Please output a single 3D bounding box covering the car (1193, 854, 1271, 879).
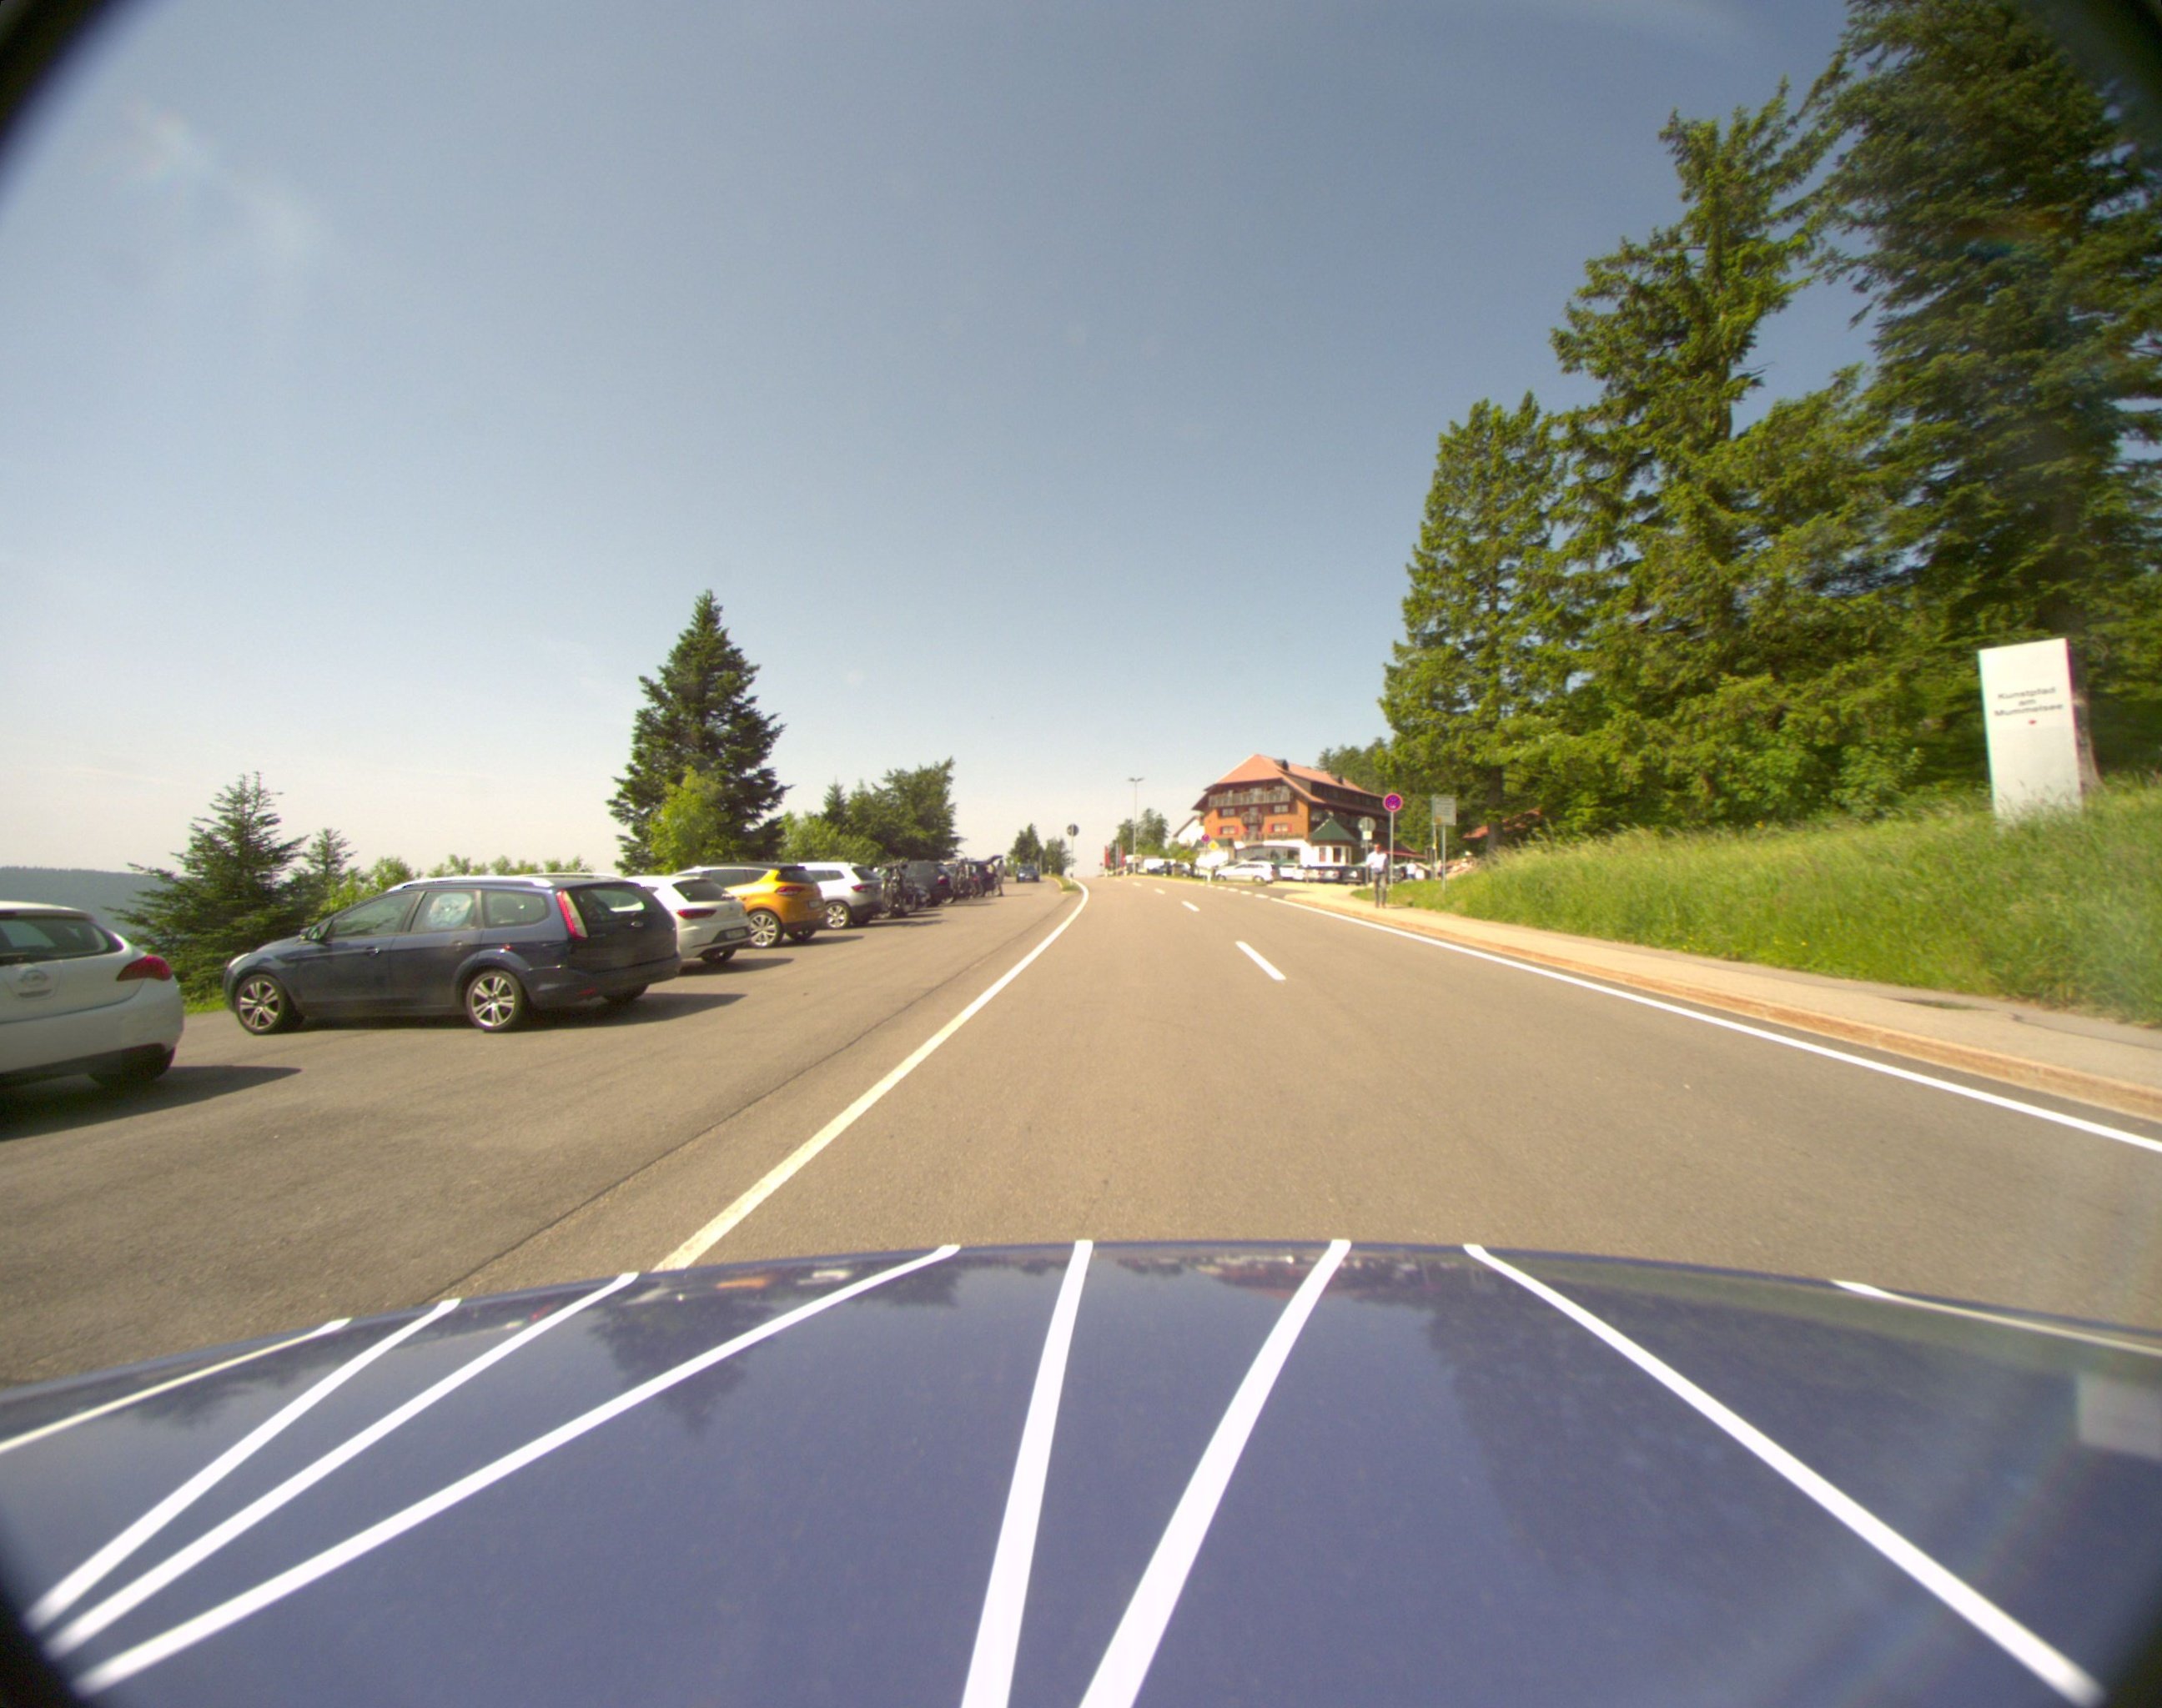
[{"bbox_3d":[11.372,0.934,57.305,5.349,1.858,2.004,-1,0,33],"label":"car"}]

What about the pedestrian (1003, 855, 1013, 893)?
[{"bbox_3d":[-3.490,0.956,36.307,0.367,1.812,0.549,0,0,0],"label":"pedestrian"}]

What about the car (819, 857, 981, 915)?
[{"bbox_3d":[-6.271,1.093,26.737,5.113,1.610,2.000,-4,0,2],"label":"car"}]

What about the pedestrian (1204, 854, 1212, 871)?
[{"bbox_3d":[12.922,0.899,77.416,0.779,1.689,0.684,0,0,4],"label":"pedestrian"}]

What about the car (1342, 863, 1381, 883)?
[{"bbox_3d":[20.469,1.353,55.372,1.708,1.387,3.323,0,-1,38],"label":"car"}]

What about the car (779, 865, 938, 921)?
[{"bbox_3d":[-6.841,1.198,23.616,4.322,1.423,1.690,-3,0,4],"label":"car"}]

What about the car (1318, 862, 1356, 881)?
[{"bbox_3d":[19.610,1.331,58.088,1.714,1.425,3.323,0,-1,38],"label":"car"}]

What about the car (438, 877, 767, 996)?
[{"bbox_3d":[-7.011,1.186,11.366,3.892,1.412,1.614,-3,1,4],"label":"car"}]

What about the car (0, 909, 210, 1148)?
[{"bbox_3d":[-8.677,1.206,5.162,3.994,1.411,1.768,-3,0,10],"label":"car"}]

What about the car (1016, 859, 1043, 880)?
[{"bbox_3d":[-4.110,1.204,60.222,1.999,1.537,3.998,-1,0,-4],"label":"car"}]

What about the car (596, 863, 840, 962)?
[{"bbox_3d":[-6.976,1.095,14.849,3.886,1.606,1.710,-3,0,3],"label":"car"}]

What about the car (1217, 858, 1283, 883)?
[{"bbox_3d":[11.347,1.096,51.070,3.952,1.578,1.794,-1,0,38],"label":"car"}]

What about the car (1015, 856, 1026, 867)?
[{"bbox_3d":[-11.305,1.380,141.693,2.000,2.002,3.997,-1,0,-7],"label":"car"}]

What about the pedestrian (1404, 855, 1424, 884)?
[{"bbox_3d":[20.001,0.922,45.603,0.638,1.731,0.910,-1,0,-45],"label":"pedestrian"}]

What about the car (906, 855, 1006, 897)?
[{"bbox_3d":[-5.803,1.000,35.704,4.323,1.811,2.000,-2,0,1],"label":"car"}]

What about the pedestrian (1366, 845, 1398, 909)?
[{"bbox_3d":[8.335,0.625,21.044,0.580,1.731,0.687,0,0,-2],"label":"pedestrian"}]

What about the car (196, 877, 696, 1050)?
[{"bbox_3d":[-6.546,1.094,8.051,4.138,1.535,1.673,-2,0,8],"label":"car"}]

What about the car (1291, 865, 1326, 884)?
[{"bbox_3d":[19.457,1.759,64.893,1.727,1.457,3.528,-1,0,37],"label":"car"}]

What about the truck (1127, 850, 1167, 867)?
[{"bbox_3d":[11.391,0.745,130.793,2.862,2.813,8.778,-1,0,34],"label":"truck"}]

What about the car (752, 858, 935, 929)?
[{"bbox_3d":[-6.518,1.067,21.161,4.429,1.609,1.753,-4,0,1],"label":"car"}]

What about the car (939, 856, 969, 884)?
[{"bbox_3d":[-8.850,1.111,53.254,1.867,1.830,3.880,-1,0,-7],"label":"car"}]

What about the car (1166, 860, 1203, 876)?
[{"bbox_3d":[10.384,1.381,76.341,3.325,1.583,1.720,-1,0,44],"label":"car"}]

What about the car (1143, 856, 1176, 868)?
[{"bbox_3d":[12.687,1.255,122.944,5.249,1.894,2.001,-1,0,6],"label":"car"}]

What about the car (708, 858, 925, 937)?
[{"bbox_3d":[-6.314,1.018,18.537,4.486,1.617,2.013,-3,0,1],"label":"car"}]

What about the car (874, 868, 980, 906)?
[{"bbox_3d":[-5.943,1.279,29.562,3.708,1.261,1.564,-3,-1,1],"label":"car"}]

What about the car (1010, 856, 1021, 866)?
[{"bbox_3d":[-12.607,1.391,146.383,1.953,1.970,4.068,0,0,-9],"label":"car"}]

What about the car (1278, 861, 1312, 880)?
[{"bbox_3d":[19.104,1.456,67.762,1.710,1.543,3.141,-1,0,41],"label":"car"}]

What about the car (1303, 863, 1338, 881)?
[{"bbox_3d":[19.377,1.470,61.443,1.636,1.425,3.323,0,-1,38],"label":"car"}]

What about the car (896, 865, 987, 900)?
[{"bbox_3d":[-5.982,1.202,32.894,3.684,1.343,1.737,-1,0,-5],"label":"car"}]
